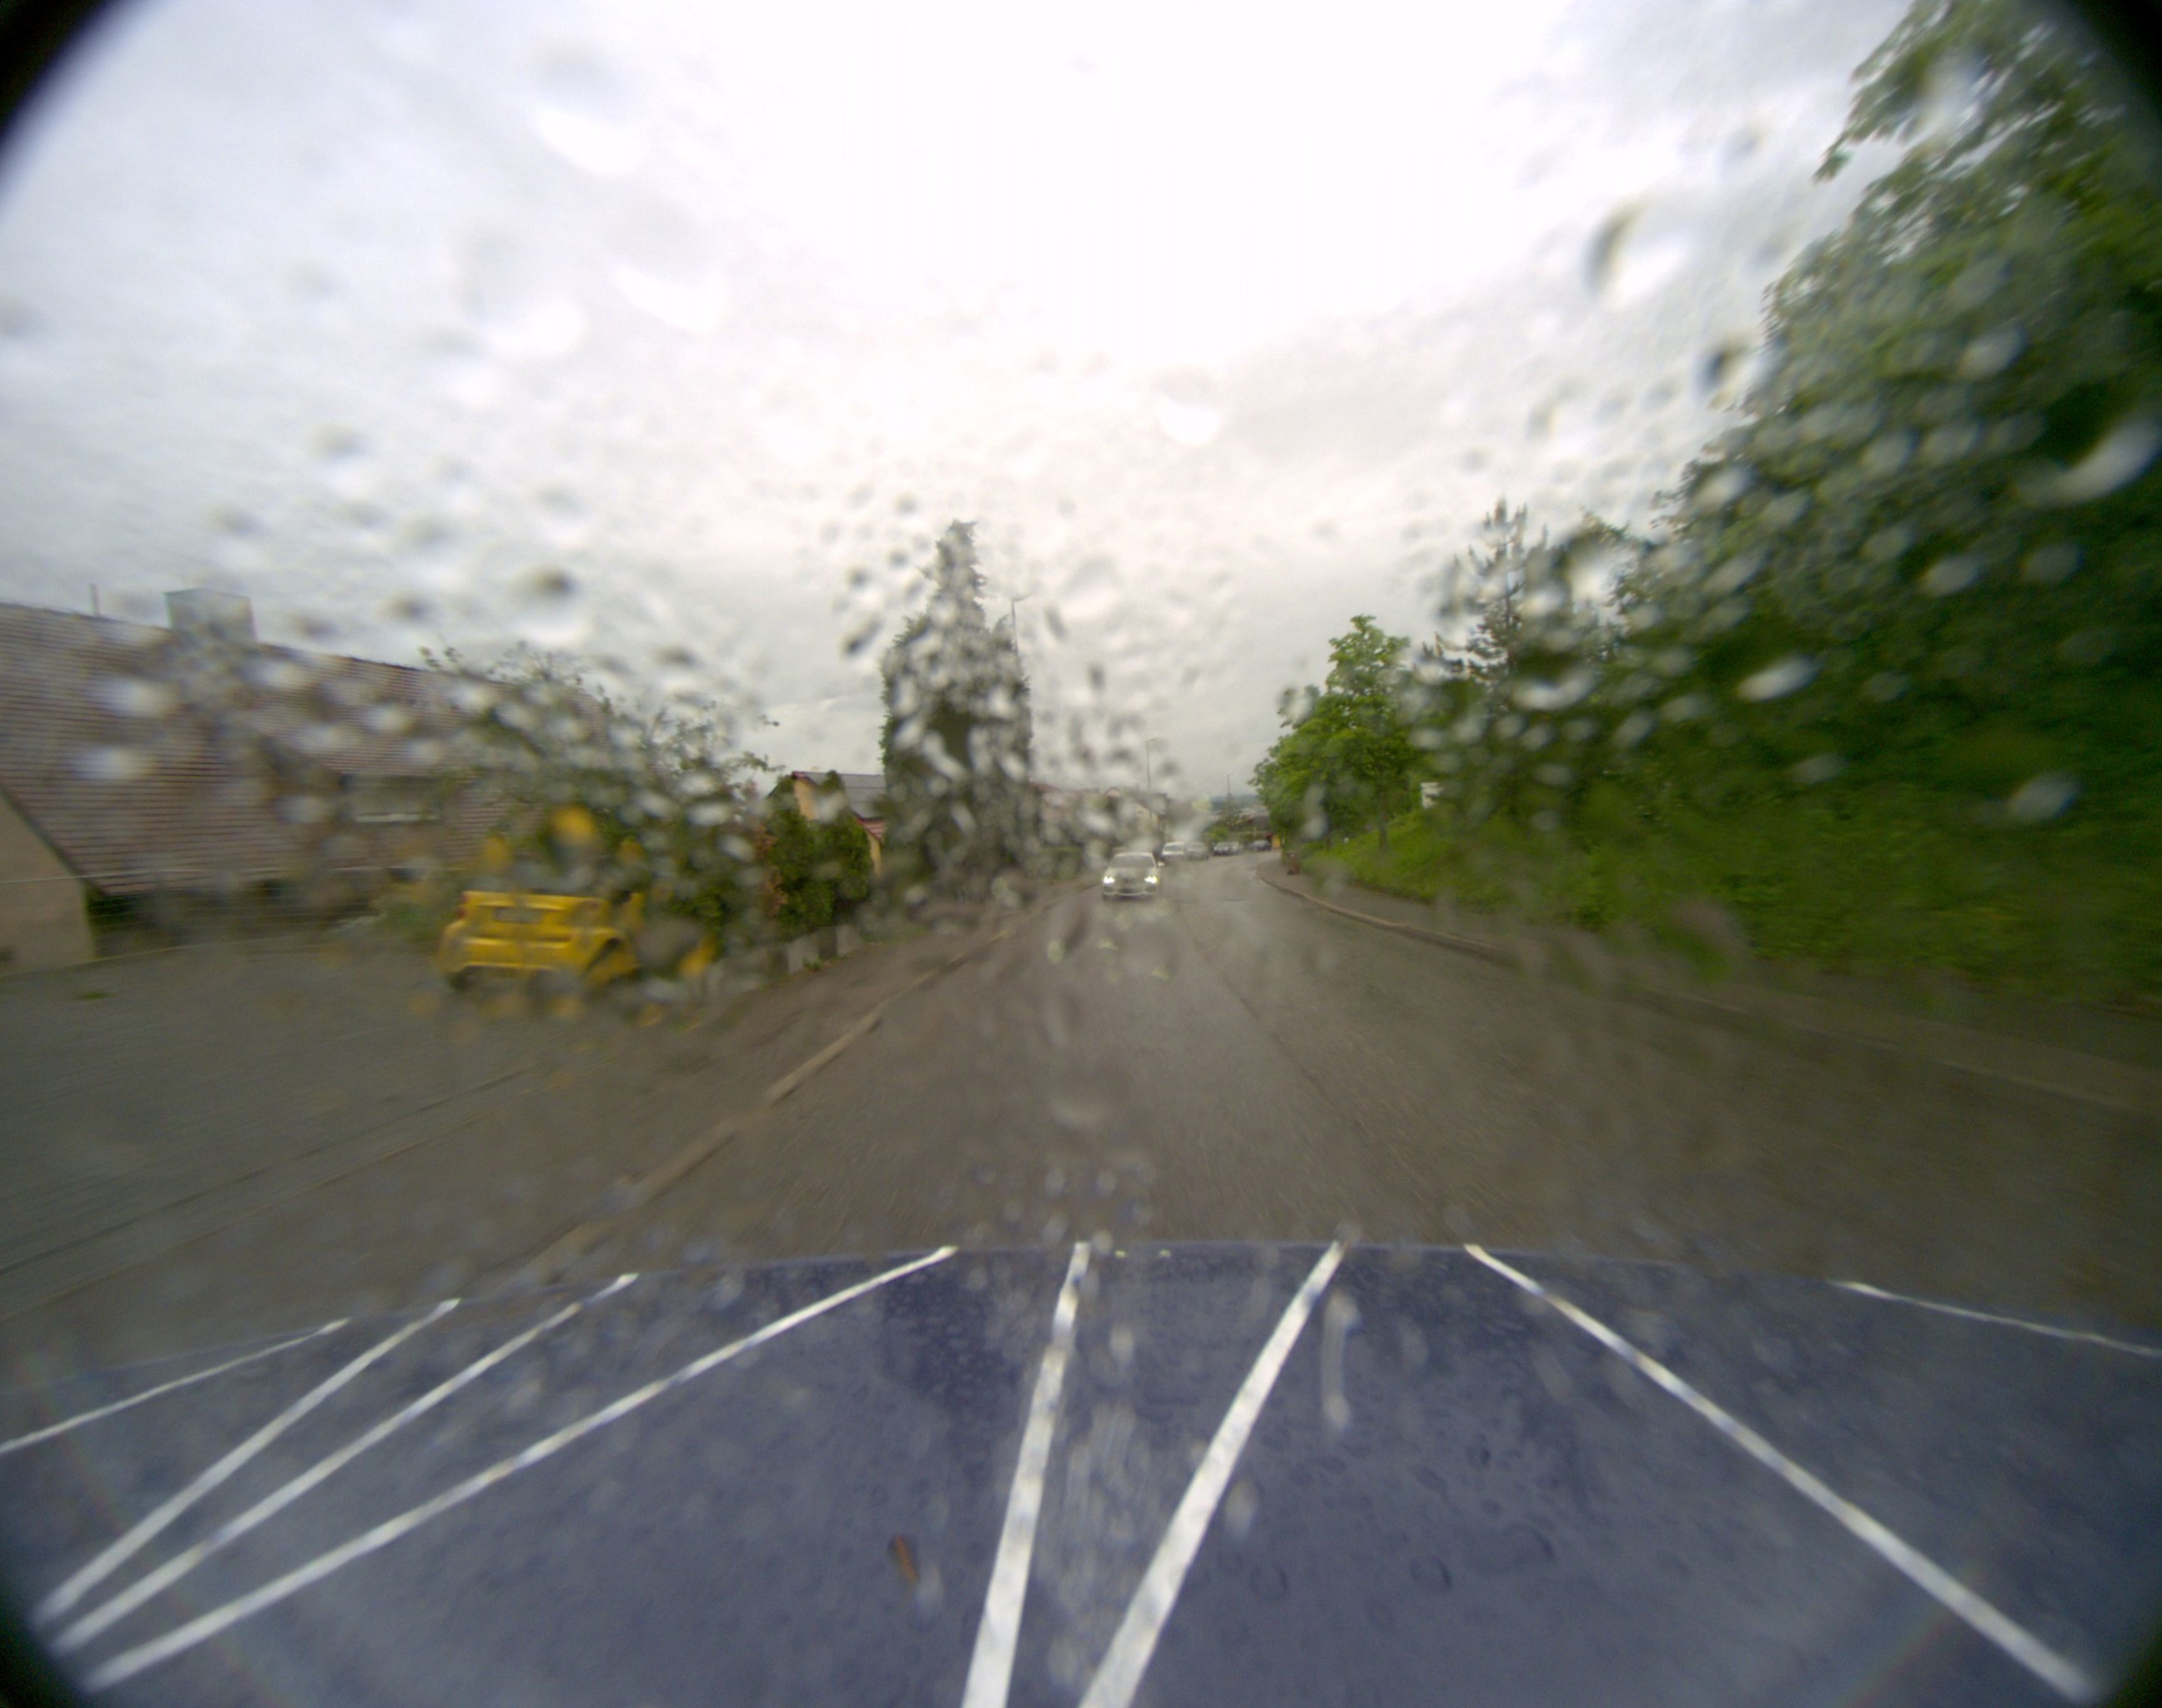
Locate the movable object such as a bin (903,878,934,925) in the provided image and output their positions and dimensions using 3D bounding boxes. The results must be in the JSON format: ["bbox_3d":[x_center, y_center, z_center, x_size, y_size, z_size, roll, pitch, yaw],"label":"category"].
[{"bbox_3d":[-4.115,1.205,19.260,0.505,1.111,0.594,-6,1,4],"label":"movable object such as a bin"}]

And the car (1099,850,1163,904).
[{"bbox_3d":[1.679,0.677,24.260,1.797,1.455,4.001,-1,2,7],"label":"car"}]

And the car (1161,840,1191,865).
[{"bbox_3d":[7.429,-0.166,59.209,1.781,1.793,4.710,-1,2,13],"label":"car"}]

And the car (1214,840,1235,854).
[{"bbox_3d":[16.289,-0.825,86.000,1.660,1.459,3.768,1,2,21],"label":"car"}]

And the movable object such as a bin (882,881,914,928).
[{"bbox_3d":[-4.660,1.276,19.346,0.523,1.131,0.594,-6,1,4],"label":"movable object such as a bin"}]

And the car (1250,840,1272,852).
[{"bbox_3d":[24.802,-1.077,104.506,1.858,1.518,5.071,1,2,26],"label":"car"}]

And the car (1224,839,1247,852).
[{"bbox_3d":[18.525,-1.070,90.821,1.770,1.459,4.241,1,2,24],"label":"car"}]

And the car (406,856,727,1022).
[{"bbox_3d":[-5.861,0.848,9.199,1.632,1.485,3.425,3,1,-3],"label":"car"}]

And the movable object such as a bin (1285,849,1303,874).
[{"bbox_3d":[9.620,0.351,34.361,0.695,1.083,0.804,-4,-3,15],"label":"movable object such as a bin"}]

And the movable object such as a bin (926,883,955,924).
[{"bbox_3d":[-3.548,1.251,19.235,0.505,0.964,0.594,-6,1,4],"label":"movable object such as a bin"}]

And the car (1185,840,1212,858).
[{"bbox_3d":[11.217,-0.488,72.115,1.806,1.617,4.292,1,2,19],"label":"car"}]

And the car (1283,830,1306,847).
[{"bbox_3d":[34.178,-2.490,121.608,2.073,2.536,6.191,0,2,31],"label":"car"}]
